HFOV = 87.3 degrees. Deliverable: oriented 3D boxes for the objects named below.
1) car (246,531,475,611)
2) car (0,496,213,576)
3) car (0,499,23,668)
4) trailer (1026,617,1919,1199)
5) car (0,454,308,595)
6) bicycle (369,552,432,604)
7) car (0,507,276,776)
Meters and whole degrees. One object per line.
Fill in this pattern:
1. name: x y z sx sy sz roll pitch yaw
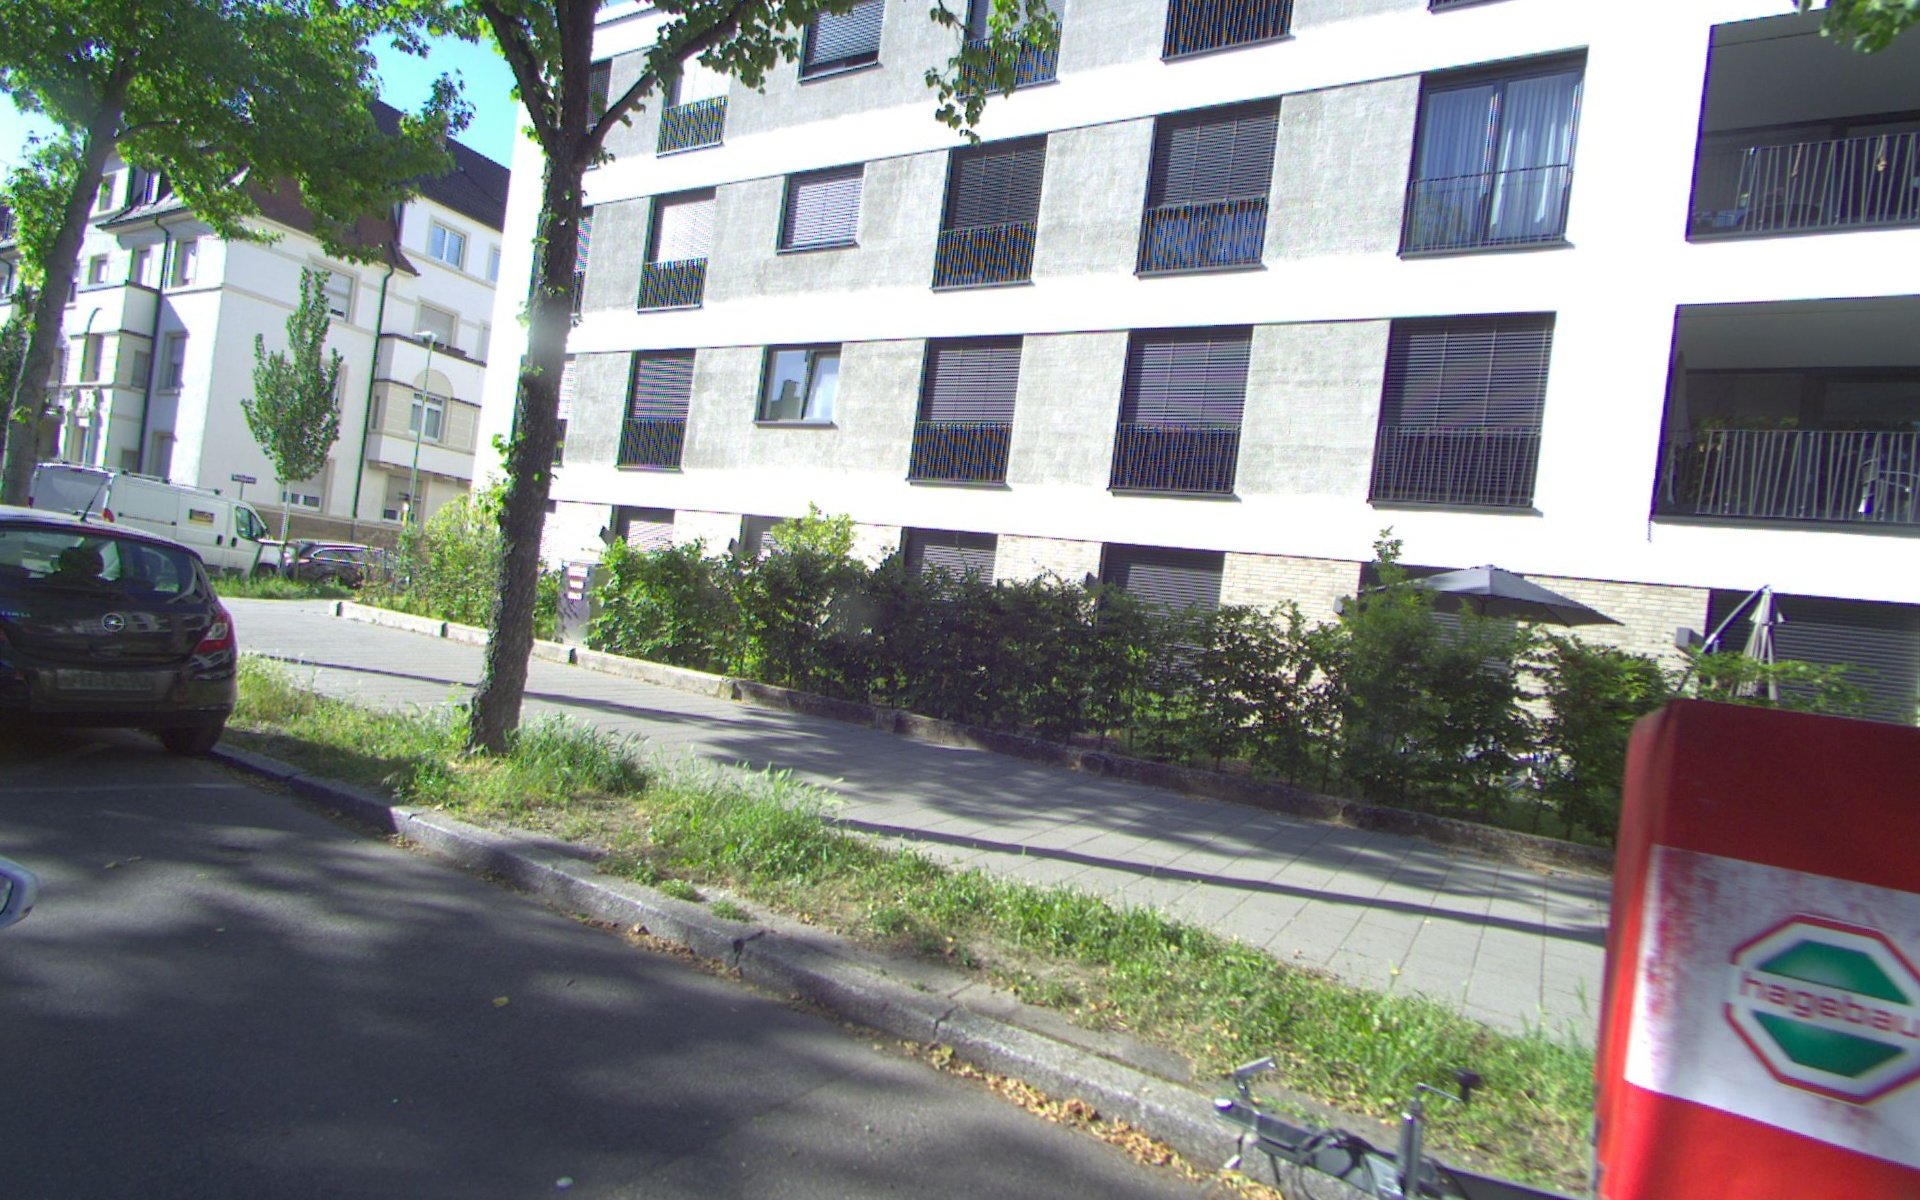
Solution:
1. car: -16.146 -0.732 27.419 2.012 1.487 4.938 7 -1 29
2. car: -23.522 -1.723 27.484 1.928 1.487 4.707 6 -2 45
3. car: -10.619 -0.420 9.227 3.941 1.504 1.737 7 -1 29
4. trailer: 1.897 1.078 1.786 3.140 1.596 1.578 7 -3 33
5. car: -17.592 -1.511 22.389 2.192 2.333 5.061 7 -1 8
6. bicycle: -14.486 -0.548 26.119 0.651 1.187 1.991 7 -2 -9
7. car: -6.791 0.083 6.927 4.108 1.466 1.675 7 -3 30
